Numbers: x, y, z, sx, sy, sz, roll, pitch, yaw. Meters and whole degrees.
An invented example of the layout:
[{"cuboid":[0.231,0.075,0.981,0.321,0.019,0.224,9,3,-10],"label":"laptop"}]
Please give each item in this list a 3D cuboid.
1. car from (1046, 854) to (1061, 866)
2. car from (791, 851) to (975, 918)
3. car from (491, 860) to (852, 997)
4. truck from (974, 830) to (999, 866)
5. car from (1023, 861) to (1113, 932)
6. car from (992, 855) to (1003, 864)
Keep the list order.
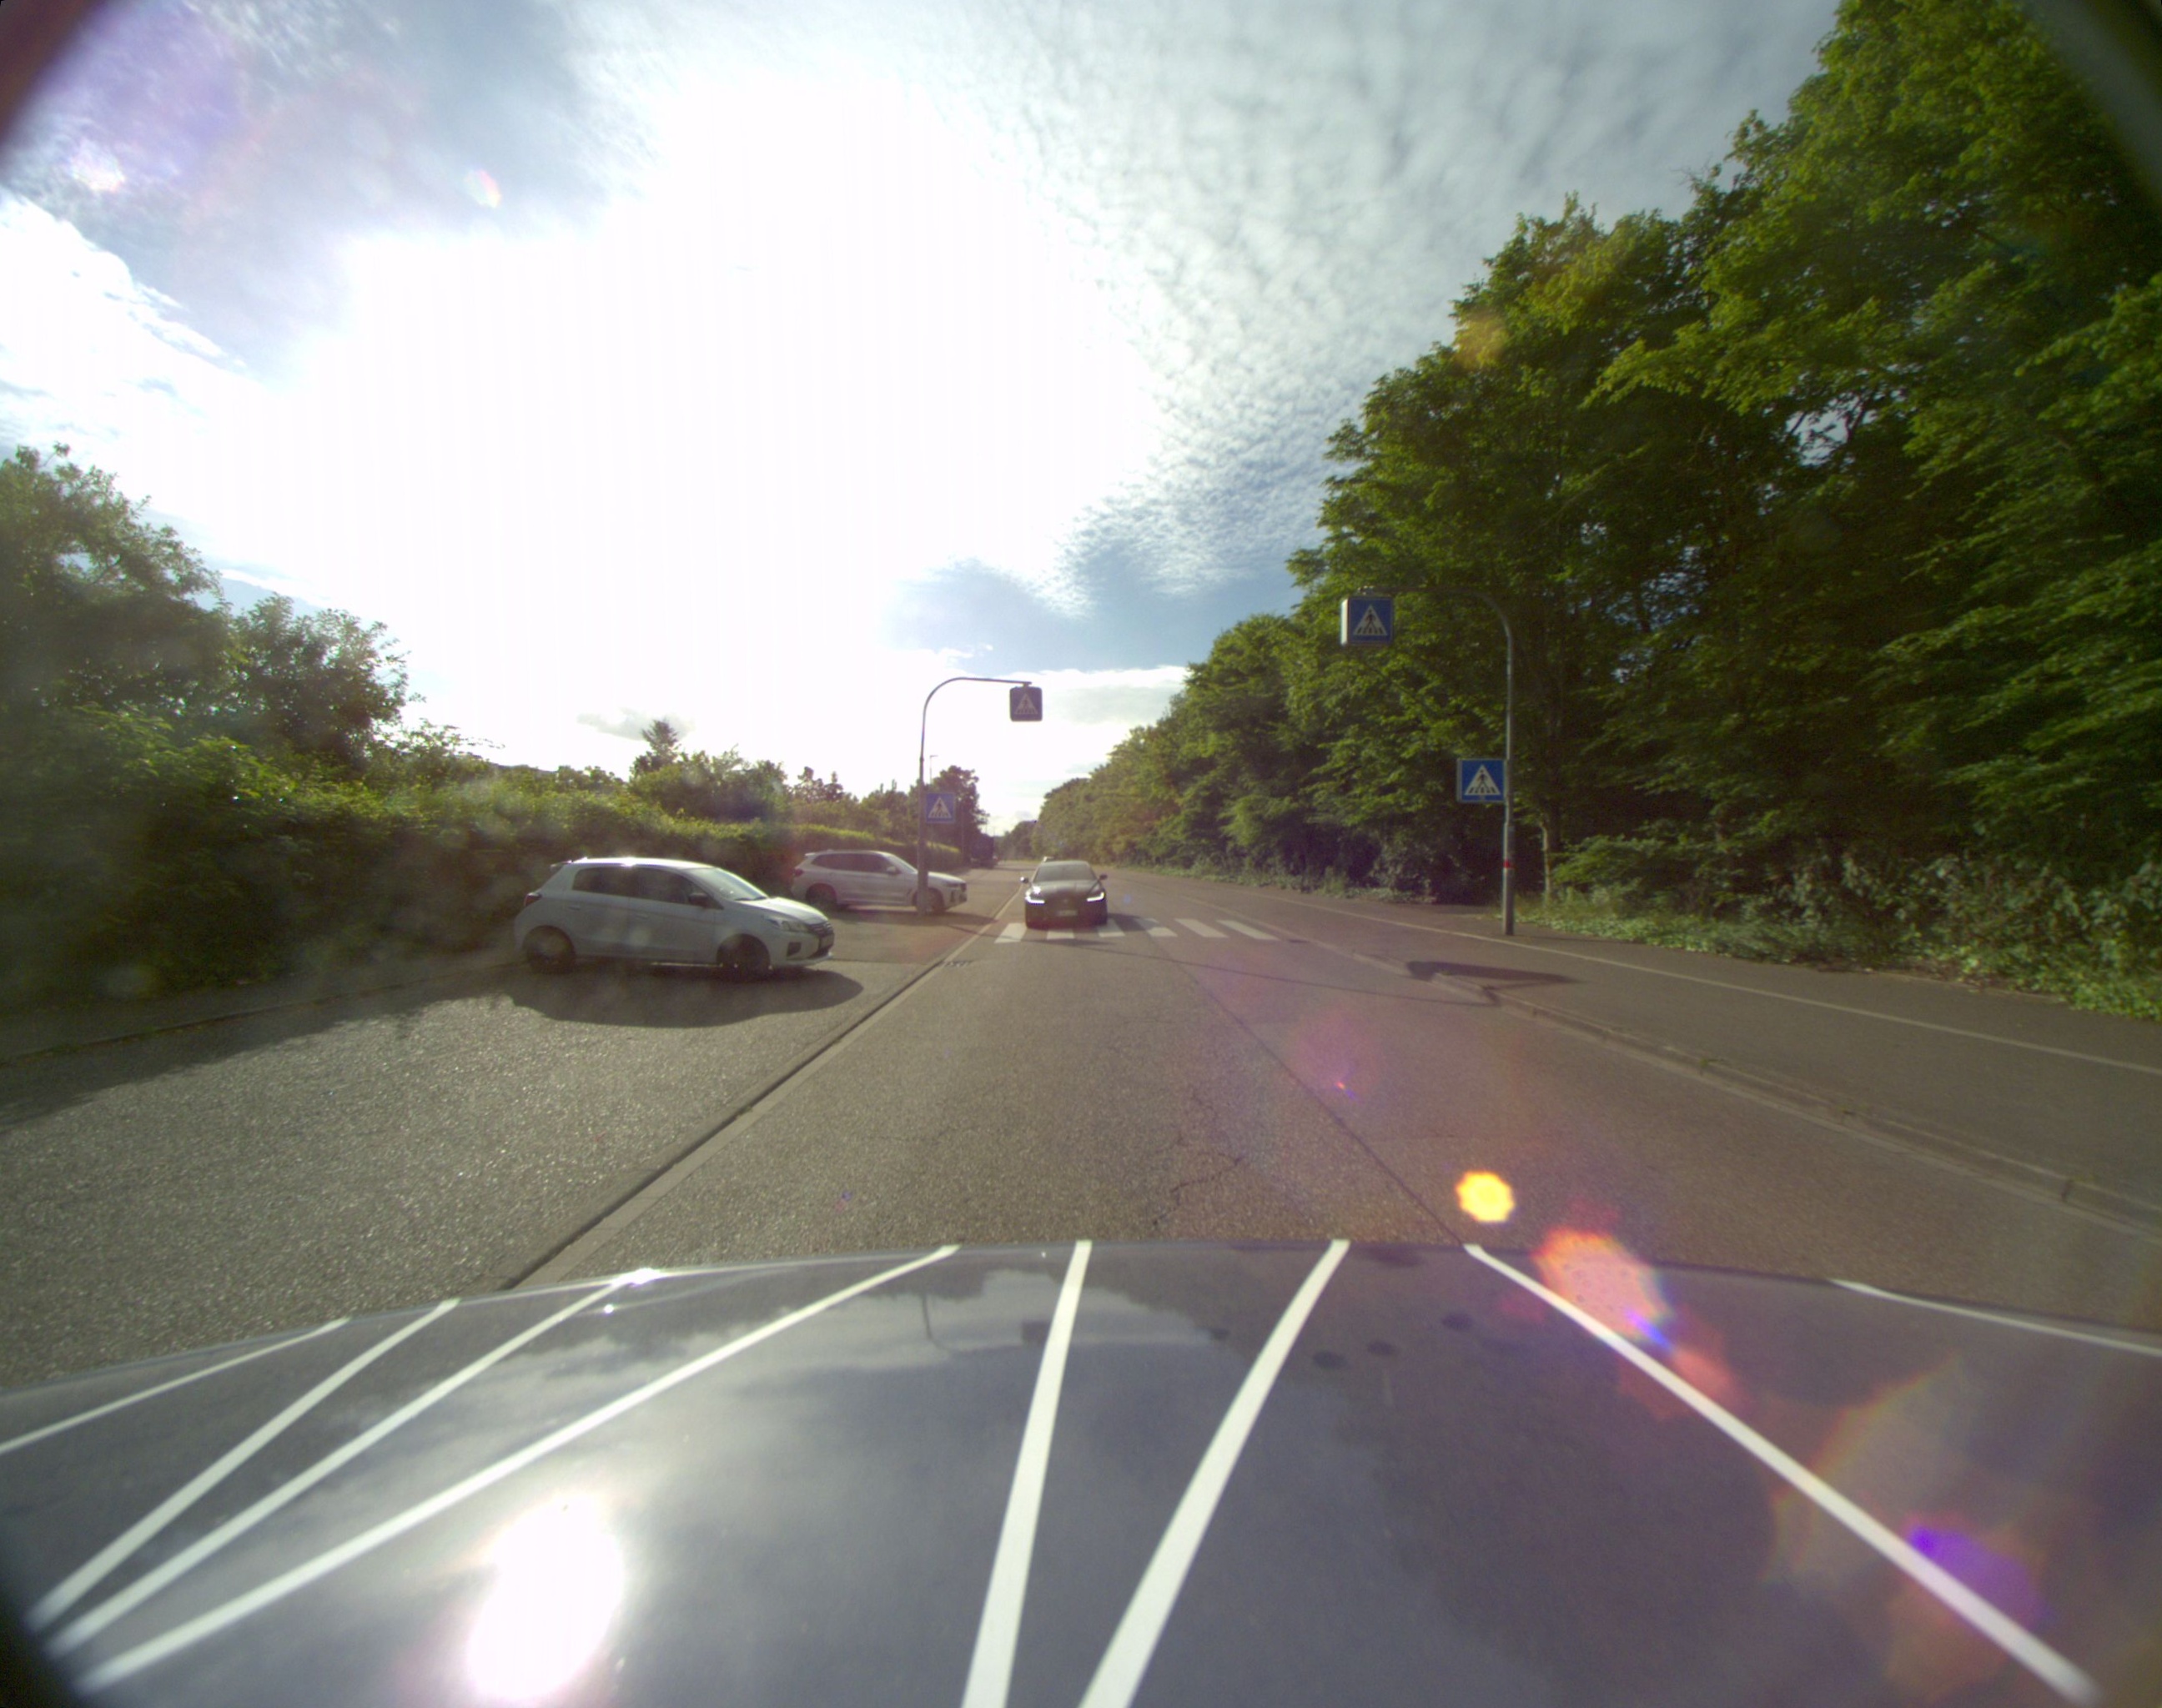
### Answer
[{"cuboid":[-3.825,0.770,104.784,1.807,1.576,4.100,1,1,-4],"label":"car"},{"cuboid":[-5.357,0.809,20.998,4.599,1.689,1.763,1,0,0],"label":"car"},{"cuboid":[-5.312,0.928,10.233,3.867,1.481,1.692,3,0,0],"label":"car"},{"cuboid":[-11.291,-0.678,90.610,2.604,3.935,6.278,3,-1,-8],"label":"truck"},{"cuboid":[-0.345,0.939,18.787,1.936,1.500,4.679,0,0,-2],"label":"car"},{"cuboid":[-15.069,0.915,136.764,1.752,1.561,3.859,2,0,-8],"label":"car"}]
